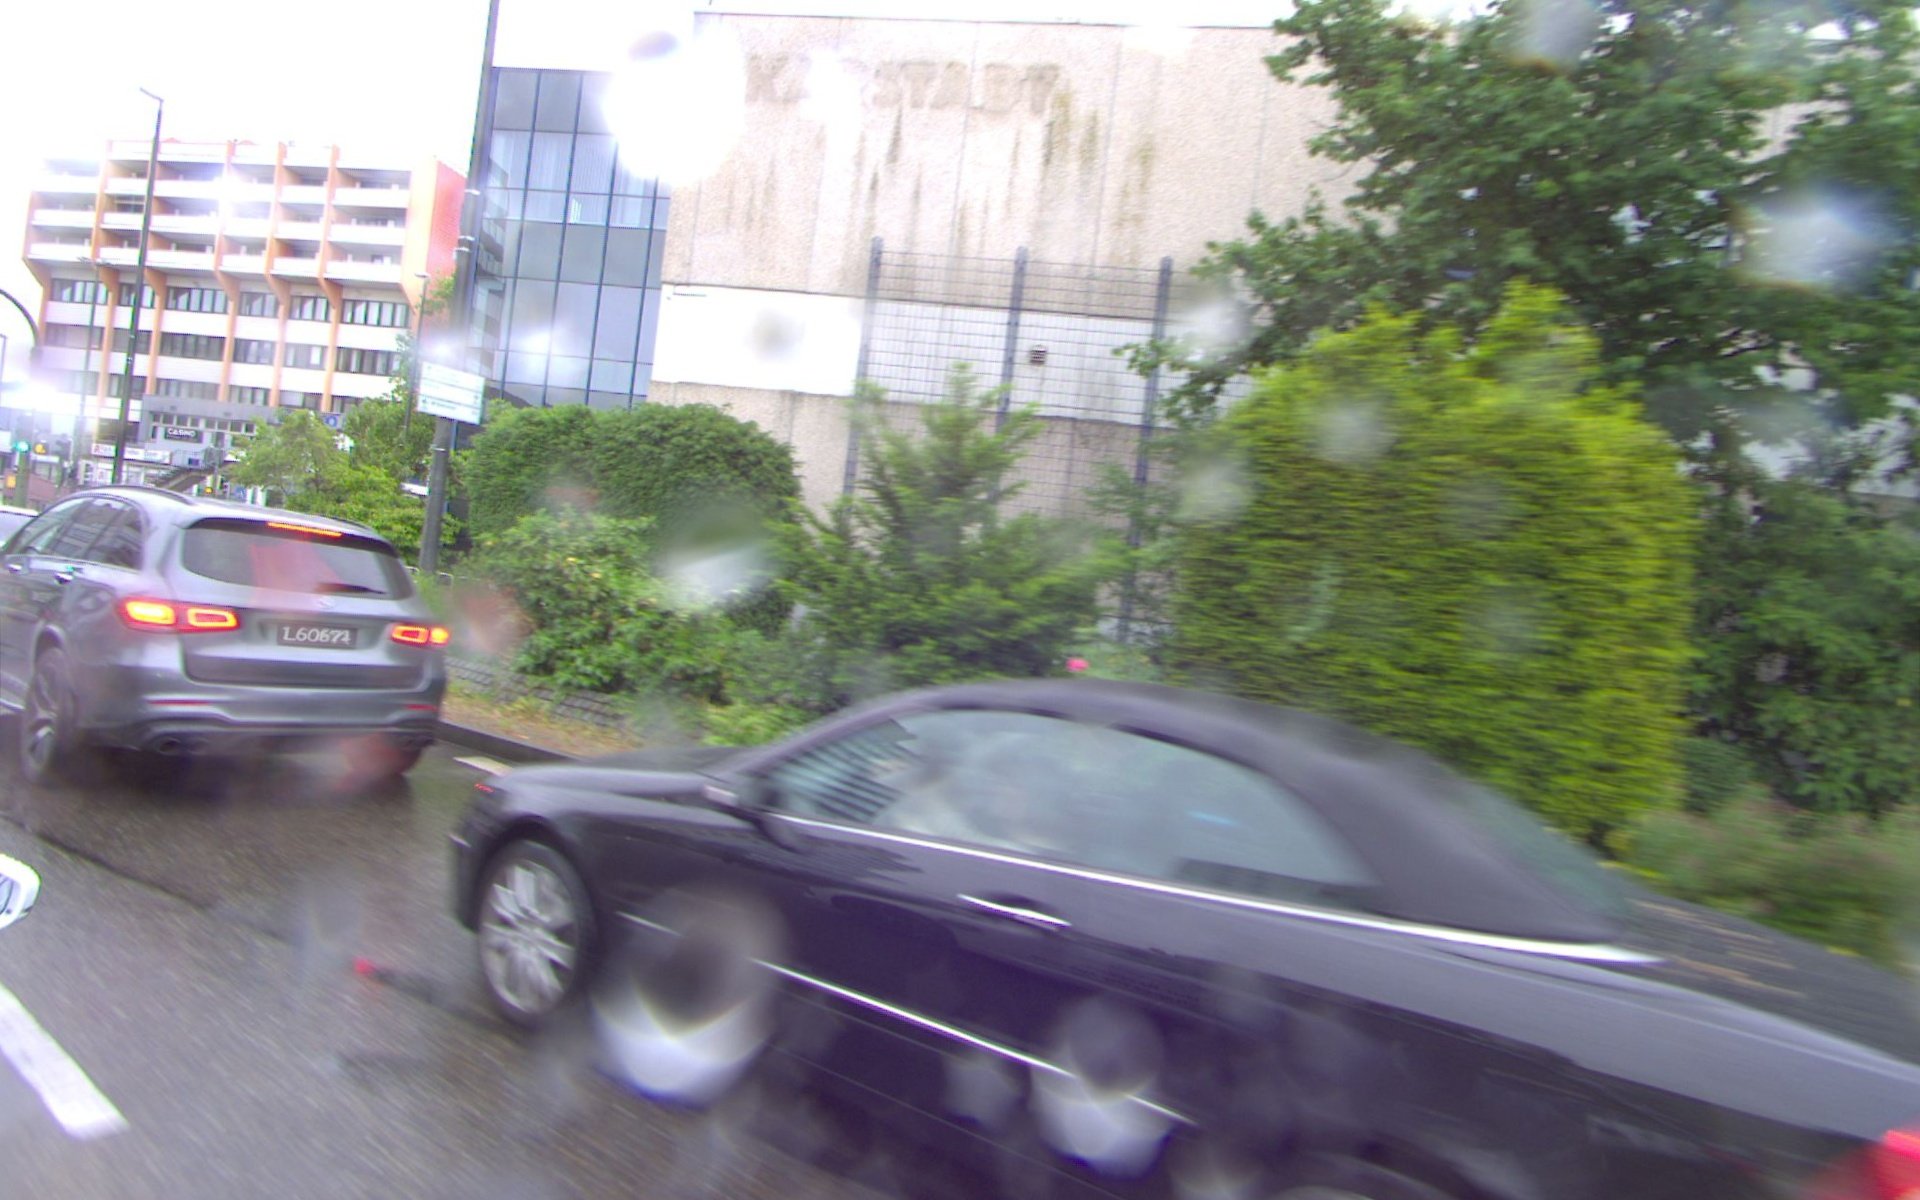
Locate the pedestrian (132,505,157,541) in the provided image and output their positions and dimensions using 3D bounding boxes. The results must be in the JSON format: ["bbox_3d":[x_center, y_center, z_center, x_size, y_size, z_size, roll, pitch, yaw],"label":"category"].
[{"bbox_3d":[-39.778,-3.775,49.082,0.706,1.624,0.648,11,-3,-41],"label":"pedestrian"}]

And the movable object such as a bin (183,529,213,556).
[{"bbox_3d":[-45.430,-3.445,59.961,1.435,1.348,1.128,9,1,44],"label":"movable object such as a bin"}]

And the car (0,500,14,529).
[{"bbox_3d":[-80.930,-7.328,82.602,4.880,2.254,2.001,6,0,8],"label":"car"}]

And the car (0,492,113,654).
[{"bbox_3d":[-10.744,-0.452,10.702,4.204,1.464,1.635,6,-3,37],"label":"car"}]

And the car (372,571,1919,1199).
[{"bbox_3d":[0.258,0.893,3.145,4.440,1.402,1.635,7,-2,32],"label":"car"}]

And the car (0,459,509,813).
[{"bbox_3d":[-5.190,0.082,6.741,4.267,1.640,1.903,7,-1,35],"label":"car"}]

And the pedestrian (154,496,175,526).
[{"bbox_3d":[-39.442,-4.413,49.886,0.705,1.362,0.648,6,0,-43],"label":"pedestrian"}]

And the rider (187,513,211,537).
[{"bbox_3d":[-45.282,-4.440,59.866,1.076,1.302,0.919,8,3,44],"label":"rider"}]
